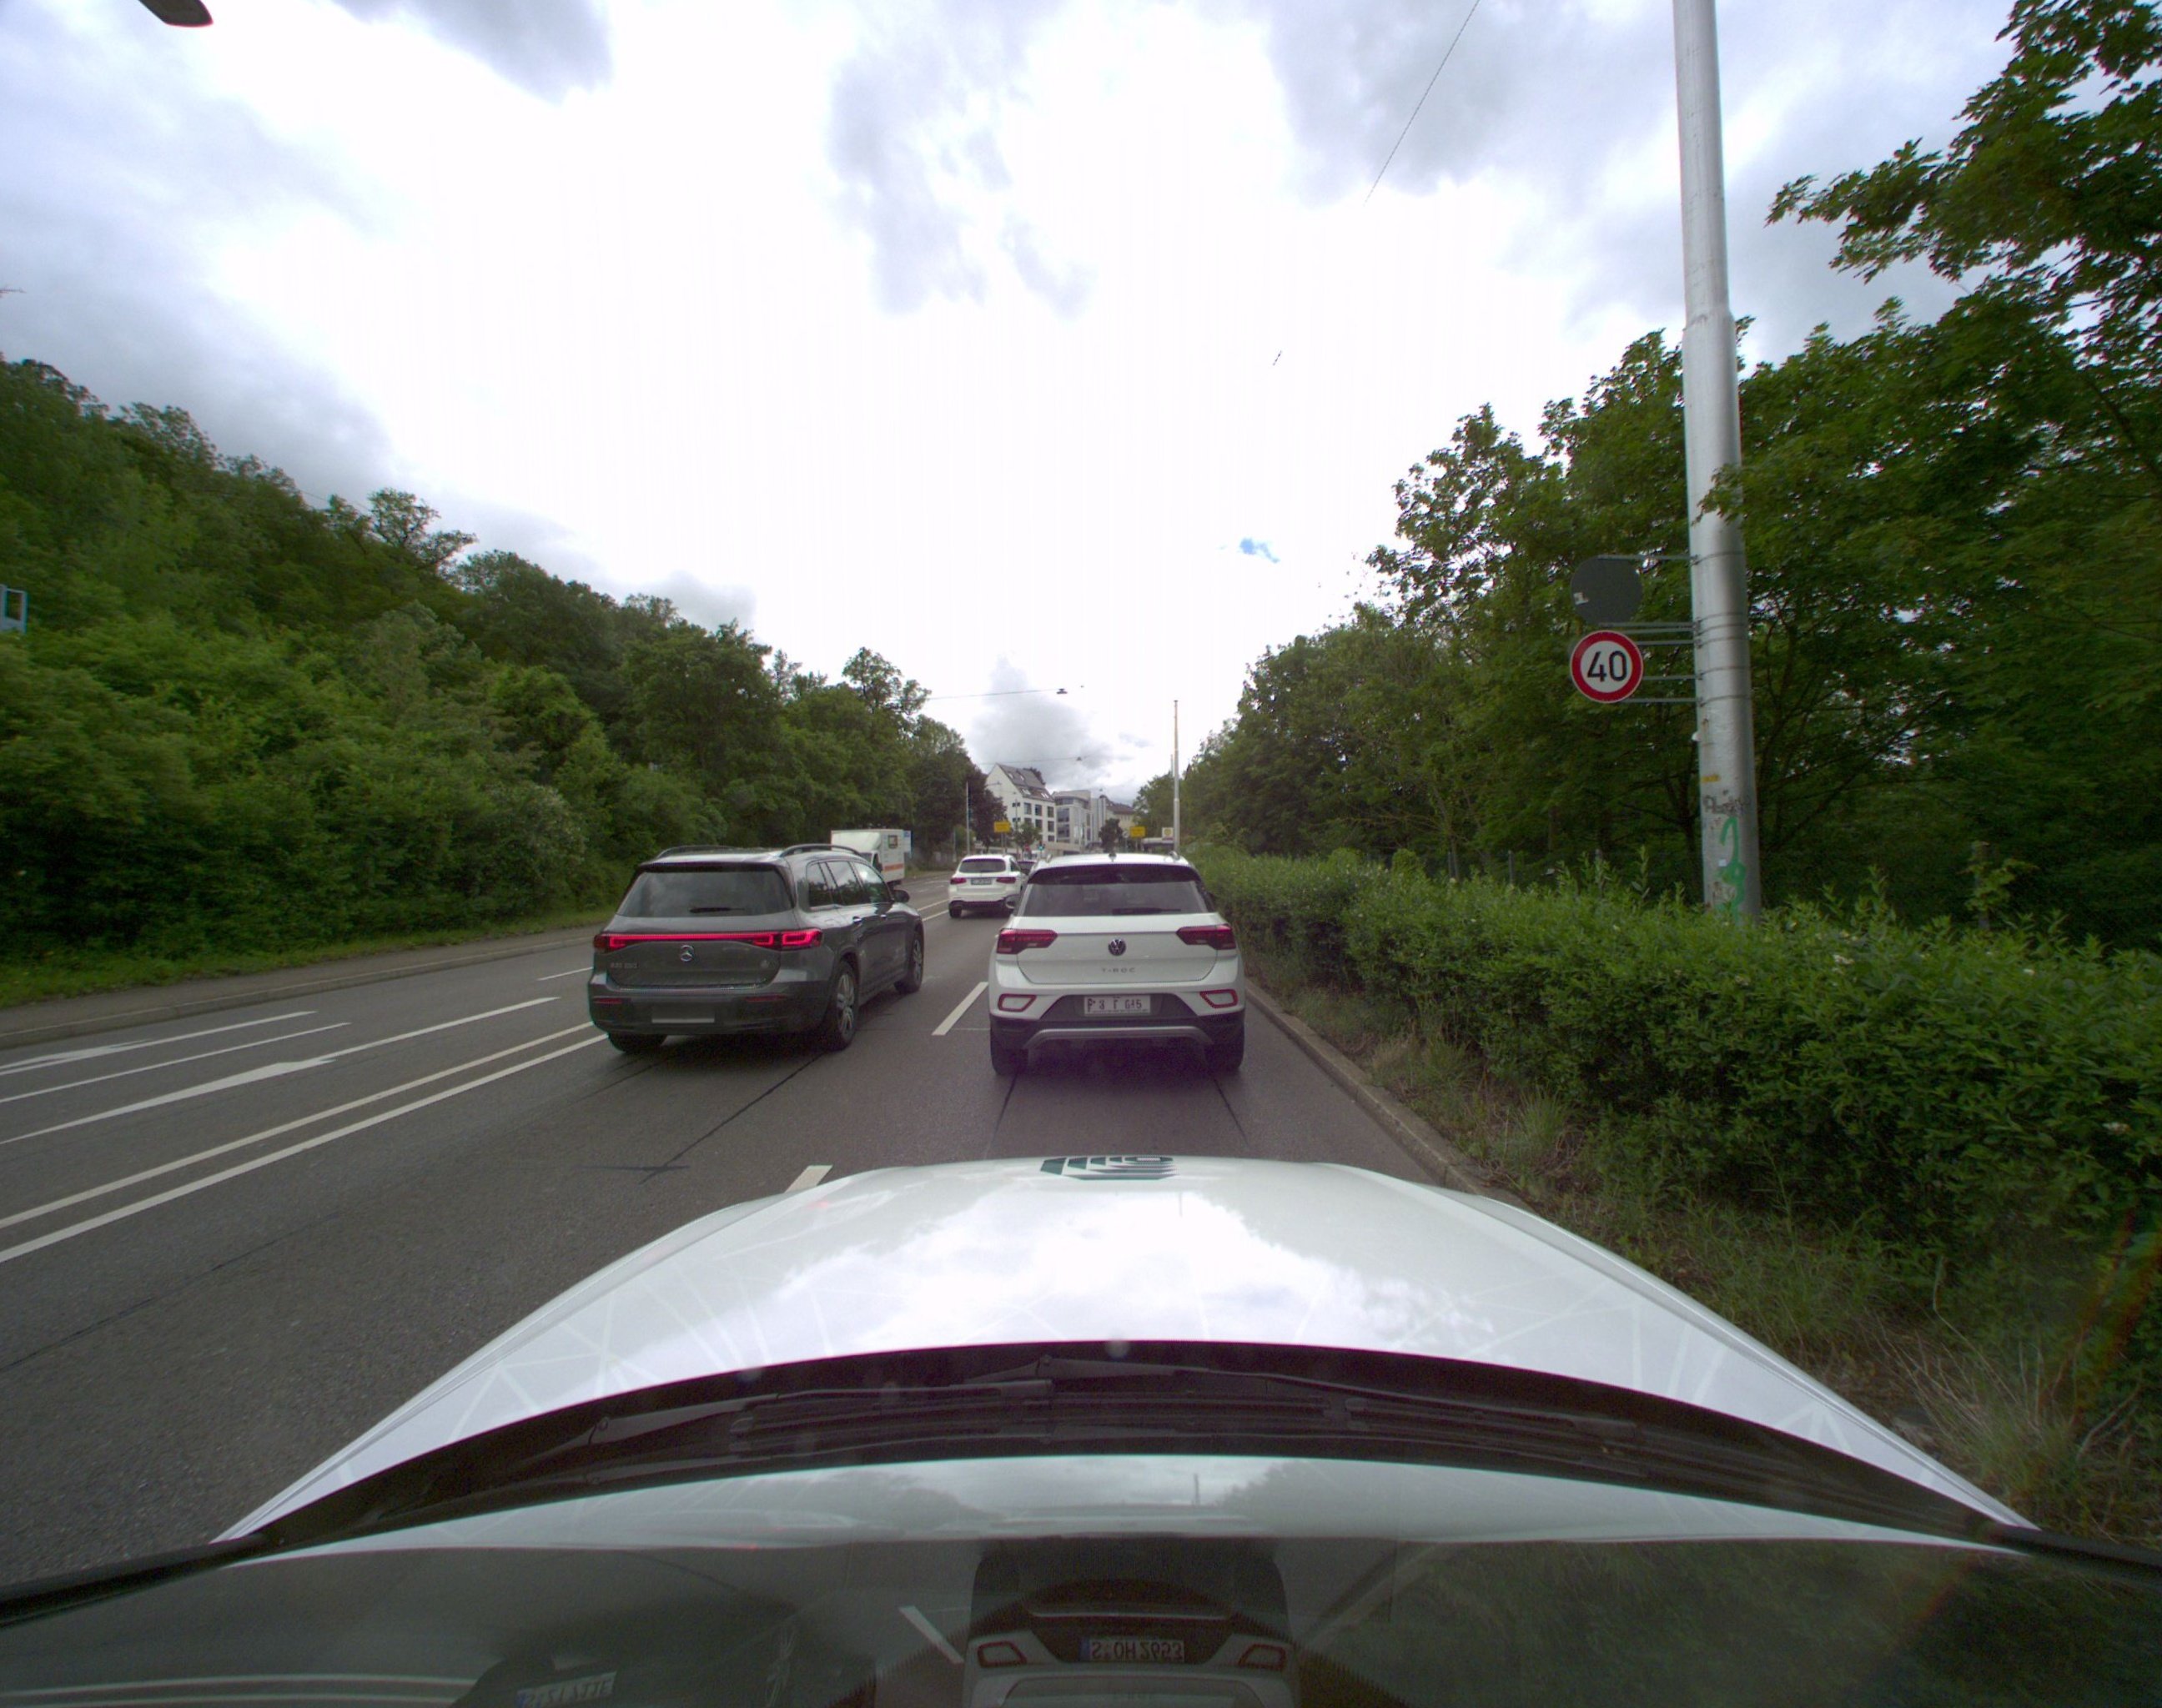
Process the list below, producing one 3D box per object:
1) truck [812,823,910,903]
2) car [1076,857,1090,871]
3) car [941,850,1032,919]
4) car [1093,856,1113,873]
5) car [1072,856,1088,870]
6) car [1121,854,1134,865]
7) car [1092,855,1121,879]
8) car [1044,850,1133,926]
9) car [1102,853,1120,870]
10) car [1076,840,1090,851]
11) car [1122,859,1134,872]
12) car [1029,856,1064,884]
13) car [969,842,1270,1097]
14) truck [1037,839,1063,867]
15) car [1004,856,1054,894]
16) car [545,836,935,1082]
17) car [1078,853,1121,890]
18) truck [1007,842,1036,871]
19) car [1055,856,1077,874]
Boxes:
[{"bbox_3d":[-9.417,0.382,35.601,2.286,3.051,6.977,-2,-1,0],"label":"truck"},{"bbox_3d":[0.276,1.345,109.495,1.809,1.656,3.929,-3,0,1],"label":"car"},{"bbox_3d":[-2.461,0.761,22.166,1.911,1.669,4.001,-1,0,1],"label":"car"},{"bbox_3d":[2.067,0.943,78.071,1.823,1.526,4.001,-2,0,1],"label":"car"},{"bbox_3d":[-0.081,1.086,96.182,1.823,1.526,4.001,-2,0,1],"label":"car"},{"bbox_3d":[7.199,0.872,126.561,1.823,1.526,4.001,-2,0,1],"label":"car"},{"bbox_3d":[1.718,0.851,55.883,1.823,1.526,4.001,-2,0,1],"label":"car"},{"bbox_3d":[0.193,0.720,19.036,1.823,1.526,4.001,-2,0,1],"label":"car"},{"bbox_3d":[3.606,0.868,99.340,1.987,1.969,3.999,-2,0,0],"label":"car"},{"bbox_3d":[0.277,-1.194,116.558,1.823,1.526,4.001,-2,0,1],"label":"car"},{"bbox_3d":[7.978,1.979,138.785,1.986,2.014,4.002,-3,-2,2],"label":"car"},{"bbox_3d":[-2.031,0.925,49.286,1.823,1.526,4.001,-2,0,1],"label":"car"},{"bbox_3d":[0.274,0.720,7.036,1.823,1.526,4.001,-2,0,1],"label":"car"},{"bbox_3d":[-3.217,-0.132,85.511,2.354,2.782,4.478,-3,0,1],"label":"truck"},{"bbox_3d":[-2.216,0.876,35.656,1.823,1.497,4.001,-2,0,1],"label":"car"},{"bbox_3d":[-2.735,0.728,7.784,1.843,1.651,4.357,-1,0,0],"label":"car"},{"bbox_3d":[0.834,0.772,37.691,1.823,1.526,4.001,-2,0,1],"label":"car"},{"bbox_3d":[-5.872,0.277,81.094,2.354,2.706,4.478,-3,0,1],"label":"truck"},{"bbox_3d":[-1.343,0.986,73.390,1.823,1.526,4.001,-2,0,1],"label":"car"}]
